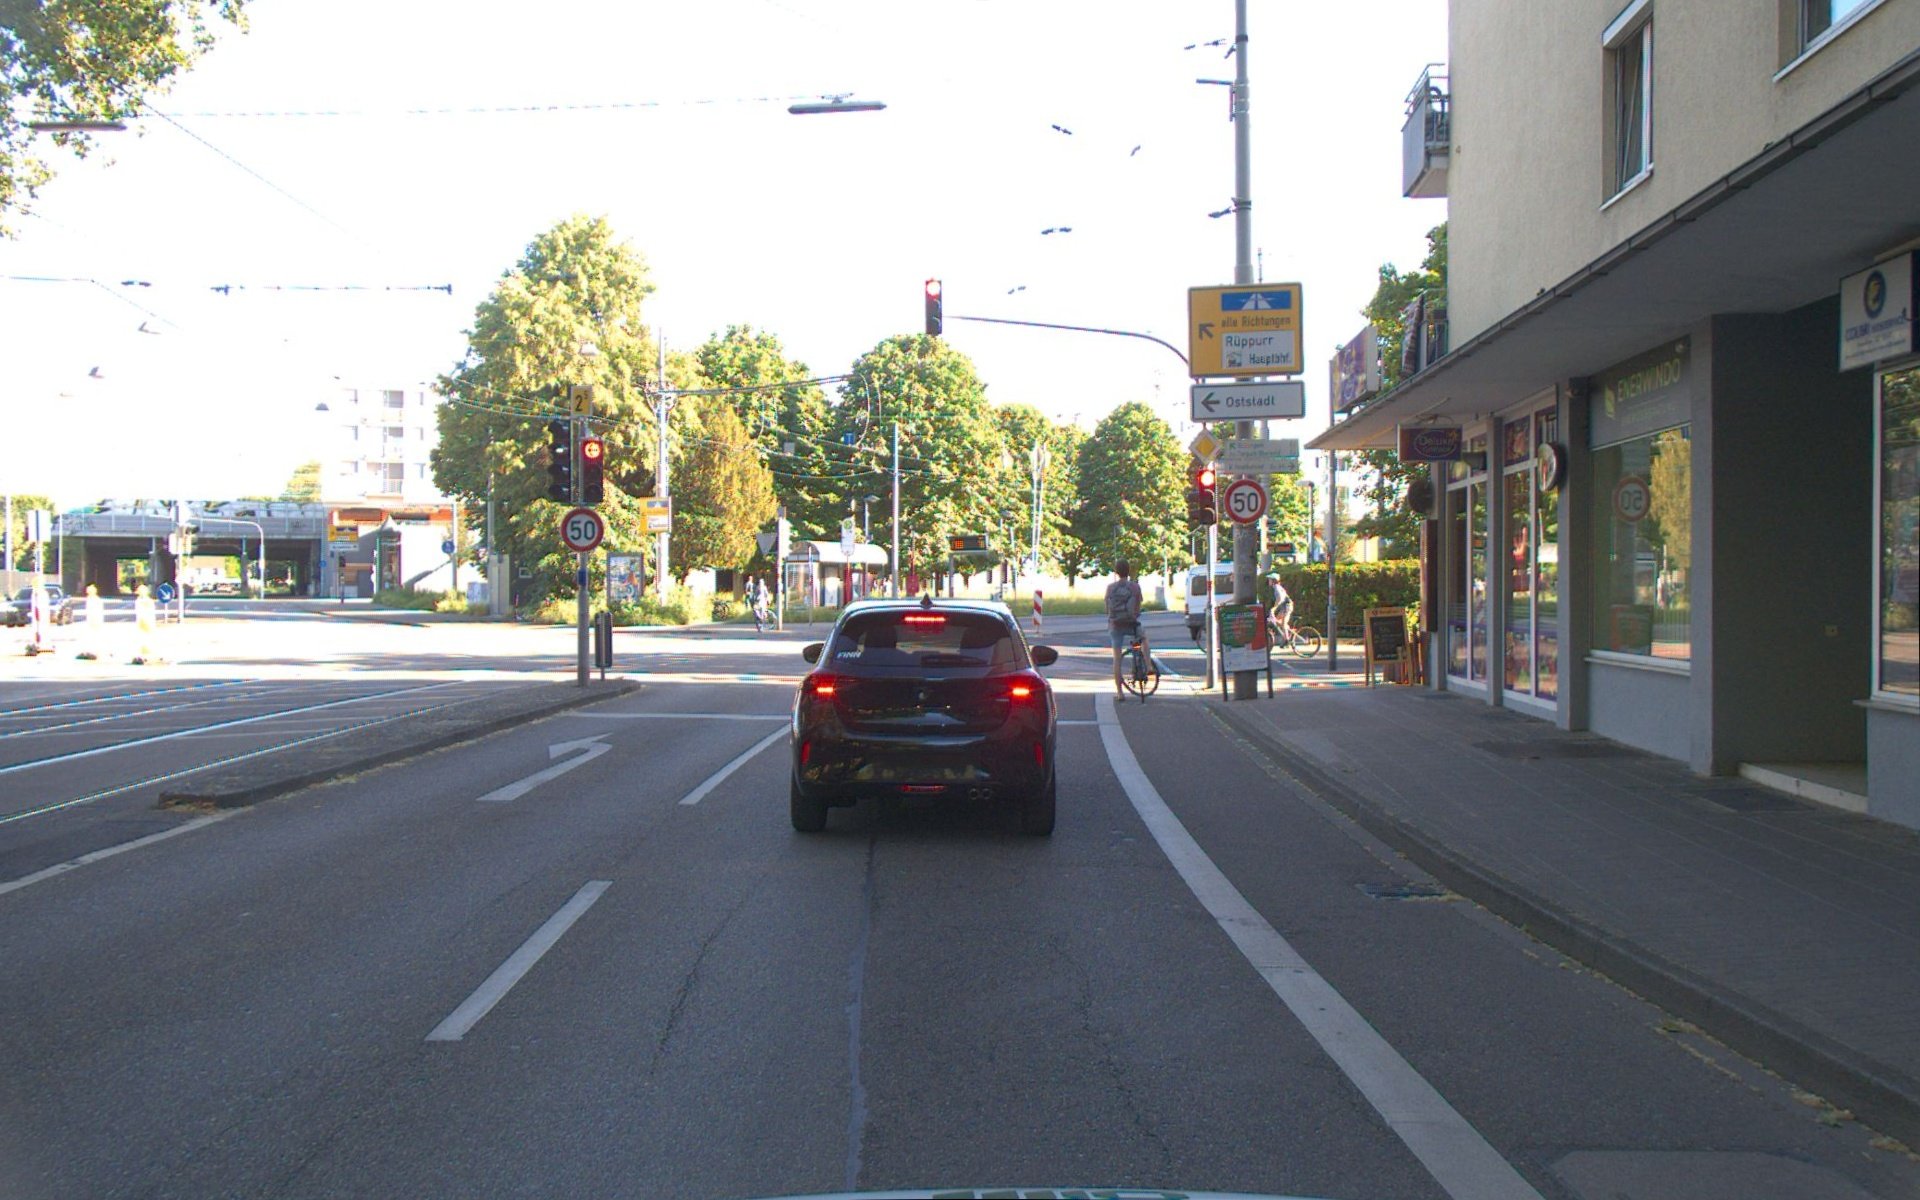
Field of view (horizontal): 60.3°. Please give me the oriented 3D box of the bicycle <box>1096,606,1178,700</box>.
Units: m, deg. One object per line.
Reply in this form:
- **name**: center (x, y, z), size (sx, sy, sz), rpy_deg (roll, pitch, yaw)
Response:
- **bicycle**: center (2.380, 0.687, 22.506), size (0.842, 1.173, 2.171), rpy_deg (0, 1, -1)

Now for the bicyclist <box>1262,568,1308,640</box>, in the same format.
- **bicyclist**: center (7.227, 0.084, 36.748), size (0.988, 1.598, 0.800), rpy_deg (0, 0, 11)

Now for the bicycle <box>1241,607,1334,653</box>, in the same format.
- **bicycle**: center (7.267, 0.657, 36.727), size (2.014, 1.001, 0.673), rpy_deg (0, 0, 11)

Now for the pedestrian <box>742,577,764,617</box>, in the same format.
- **pedestrian**: center (-8.765, -0.137, 70.033), size (0.735, 1.658, 0.598), rpy_deg (2, 0, 6)

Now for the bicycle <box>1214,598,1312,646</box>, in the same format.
- **bicycle**: center (7.104, 0.511, 38.743), size (2.244, 1.103, 0.801), rpy_deg (0, 0, 12)

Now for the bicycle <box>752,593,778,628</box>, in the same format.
- **bicycle**: center (-5.990, 0.315, 50.896), size (0.593, 1.049, 1.982), rpy_deg (0, 1, -1)

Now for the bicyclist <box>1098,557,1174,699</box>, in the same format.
- **bicyclist**: center (2.378, 0.362, 22.438), size (0.922, 1.883, 0.864), rpy_deg (0, 0, -1)

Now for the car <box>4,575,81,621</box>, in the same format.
- **car**: center (-32.881, -0.082, 59.362), size (1.798, 1.545, 3.871), rpy_deg (2, 0, -20)

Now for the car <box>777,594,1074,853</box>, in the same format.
- **car**: center (-0.205, 0.705, 11.616), size (1.692, 1.454, 4.187), rpy_deg (1, 0, 0)

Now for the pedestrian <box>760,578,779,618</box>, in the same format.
- **pedestrian**: center (-8.068, -0.095, 69.961), size (0.623, 1.658, 0.572), rpy_deg (2, 0, 6)

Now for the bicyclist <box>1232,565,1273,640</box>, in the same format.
- **bicyclist**: center (6.861, 0.049, 38.783), size (0.907, 1.737, 0.876), rpy_deg (0, 0, 12)

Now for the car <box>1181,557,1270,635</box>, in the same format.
- **car**: center (8.242, -0.156, 51.014), size (2.020, 2.288, 4.889), rpy_deg (0, 1, 18)
